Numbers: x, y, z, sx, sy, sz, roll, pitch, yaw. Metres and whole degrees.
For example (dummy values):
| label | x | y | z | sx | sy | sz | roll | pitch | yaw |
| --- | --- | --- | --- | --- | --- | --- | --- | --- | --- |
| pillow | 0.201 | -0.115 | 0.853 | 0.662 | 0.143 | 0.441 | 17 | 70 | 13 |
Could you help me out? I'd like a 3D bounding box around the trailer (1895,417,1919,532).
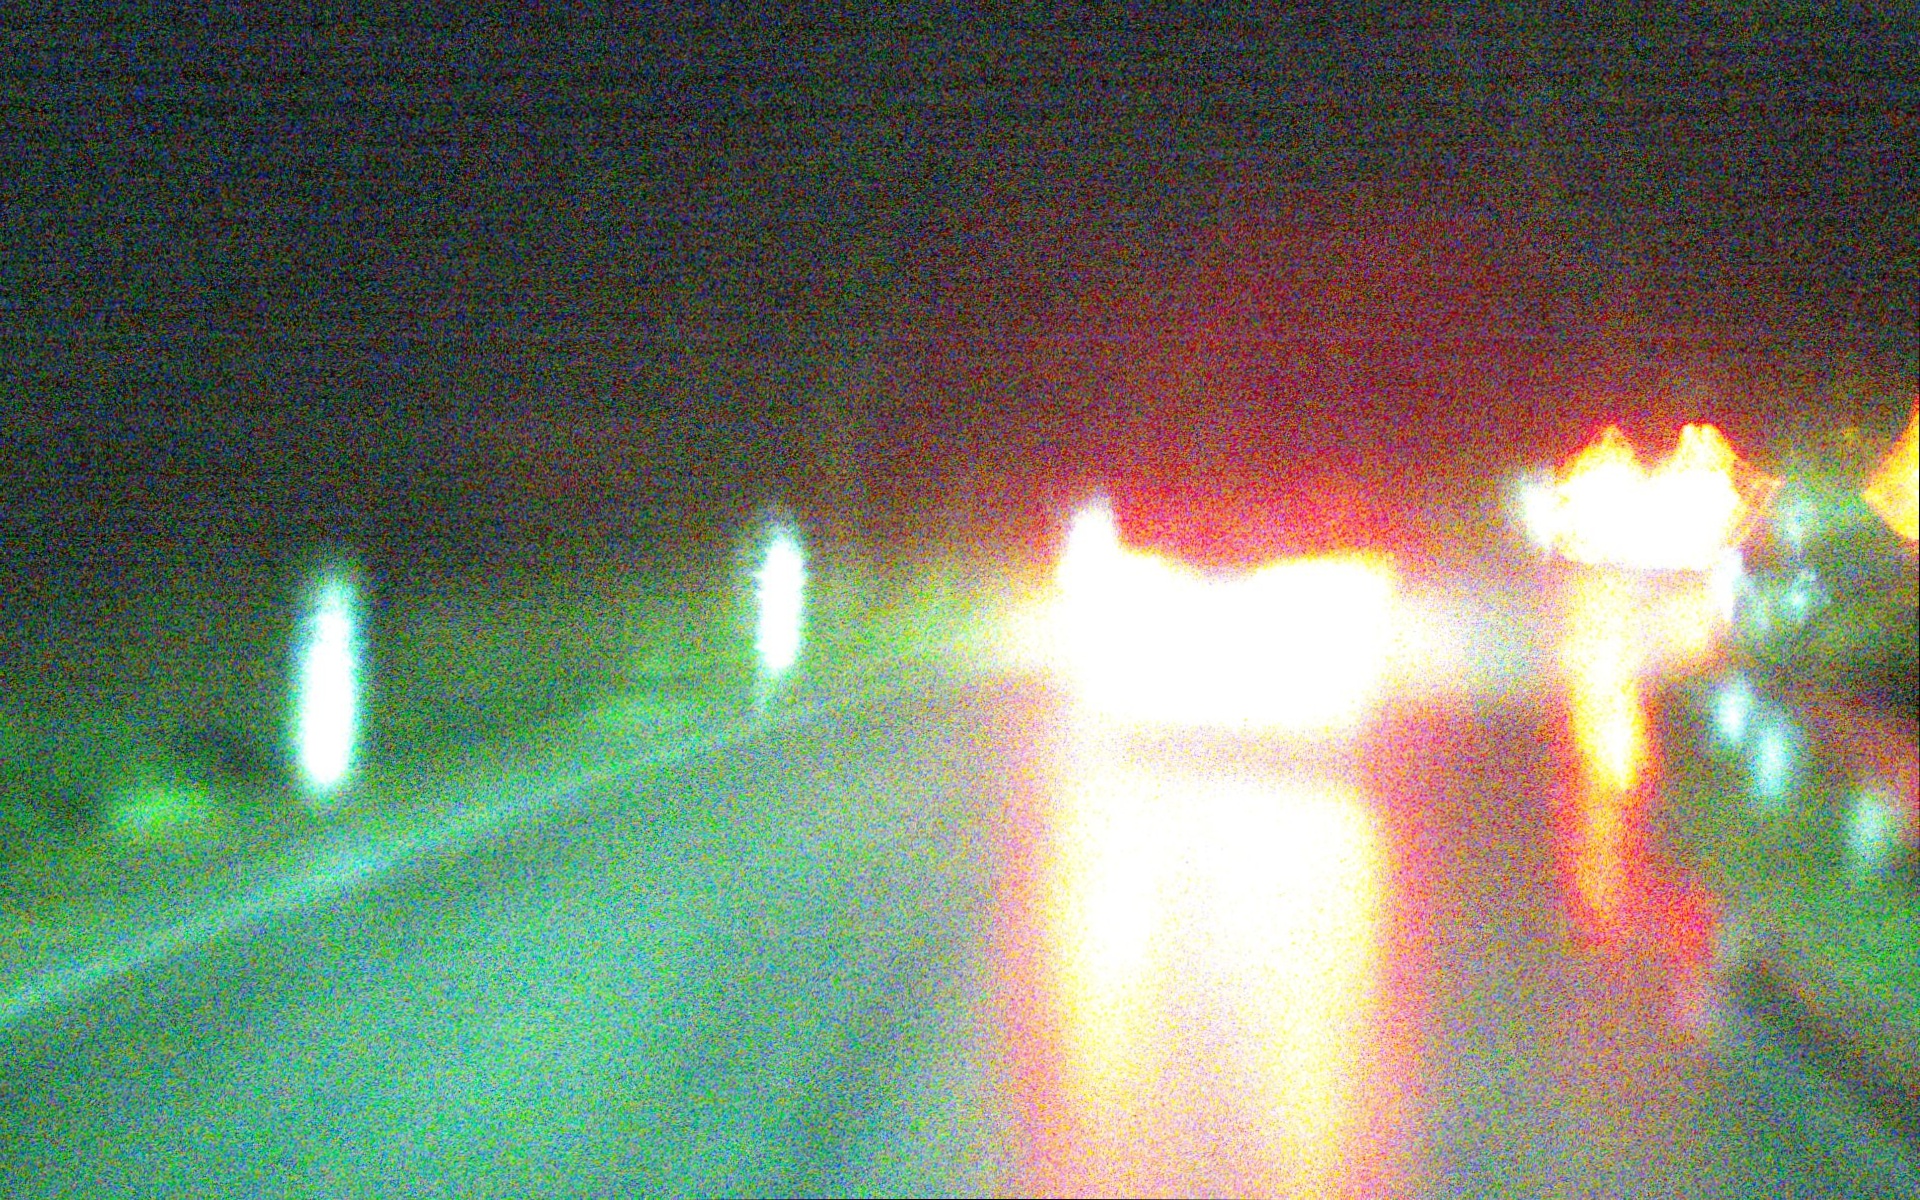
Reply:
| label | x | y | z | sx | sy | sz | roll | pitch | yaw |
| --- | --- | --- | --- | --- | --- | --- | --- | --- | --- |
| trailer | 19.390 | -2.347 | 65.569 | 2.080 | 2.007 | 10.637 | -2 | 0 | 20 |
